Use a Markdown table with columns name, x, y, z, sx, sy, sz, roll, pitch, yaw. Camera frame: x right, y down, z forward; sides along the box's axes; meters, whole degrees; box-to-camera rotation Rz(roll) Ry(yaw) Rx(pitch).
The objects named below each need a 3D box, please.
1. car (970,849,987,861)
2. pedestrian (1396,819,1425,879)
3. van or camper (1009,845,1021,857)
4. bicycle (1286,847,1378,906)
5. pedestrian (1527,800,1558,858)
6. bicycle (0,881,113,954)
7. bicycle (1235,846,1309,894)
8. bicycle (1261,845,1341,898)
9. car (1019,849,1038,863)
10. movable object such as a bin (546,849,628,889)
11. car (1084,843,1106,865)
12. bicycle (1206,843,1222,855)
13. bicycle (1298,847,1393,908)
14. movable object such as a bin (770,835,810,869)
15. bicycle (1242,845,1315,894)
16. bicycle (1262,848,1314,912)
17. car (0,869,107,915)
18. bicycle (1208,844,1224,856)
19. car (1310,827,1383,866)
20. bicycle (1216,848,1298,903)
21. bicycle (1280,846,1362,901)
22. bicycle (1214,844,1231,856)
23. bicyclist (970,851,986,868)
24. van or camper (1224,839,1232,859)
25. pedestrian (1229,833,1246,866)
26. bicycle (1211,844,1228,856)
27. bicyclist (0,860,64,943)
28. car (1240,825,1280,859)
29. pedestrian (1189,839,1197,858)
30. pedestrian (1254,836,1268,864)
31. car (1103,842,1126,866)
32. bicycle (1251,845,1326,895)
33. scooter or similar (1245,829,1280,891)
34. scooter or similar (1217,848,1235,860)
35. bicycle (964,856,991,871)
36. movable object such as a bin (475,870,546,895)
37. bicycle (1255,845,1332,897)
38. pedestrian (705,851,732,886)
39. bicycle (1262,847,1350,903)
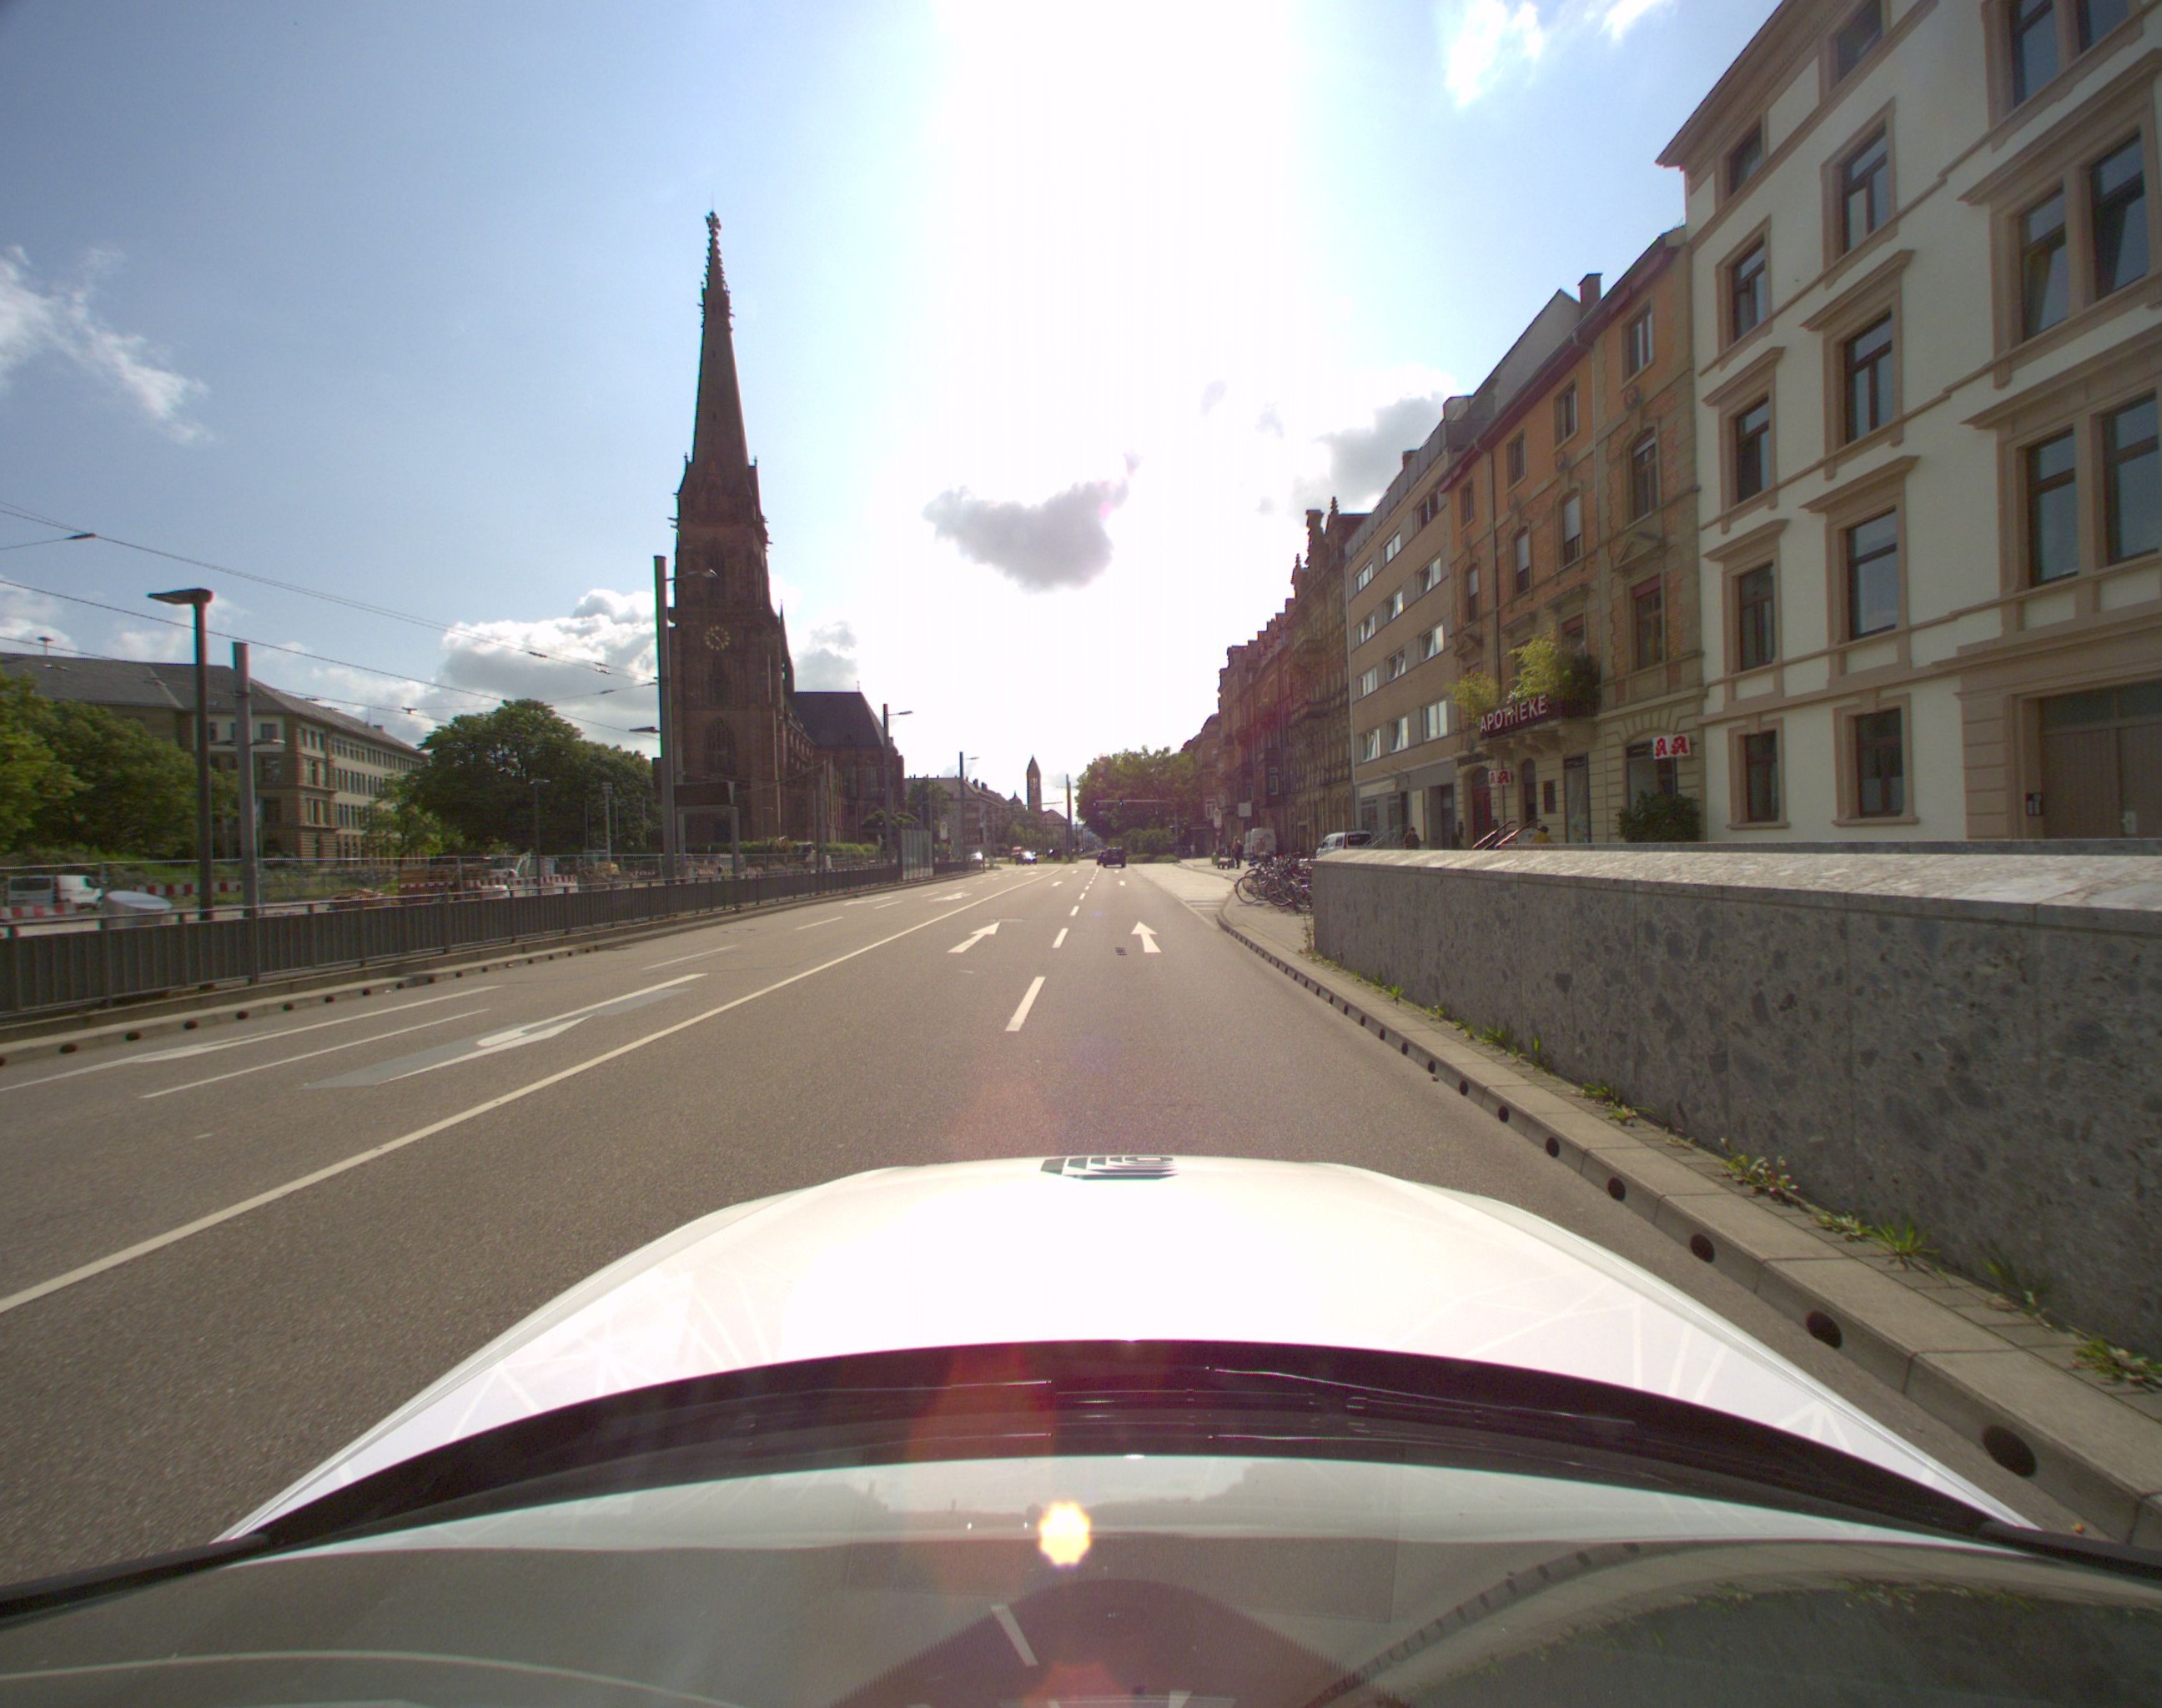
| name | x | y | z | sx | sy | sz | roll | pitch | yaw |
| --- | --- | --- | --- | --- | --- | --- | --- | --- | --- |
| car | -14.584 | 0.123 | 116.494 | 1.812 | 1.552 | 4.558 | -2 | 0 | -1 |
| pedestrian | 11.841 | -0.204 | 29.292 | 0.718 | 2.099 | 0.787 | -2 | 2 | 2 |
| van or camper | -15.425 | -0.634 | 190.225 | 2.249 | 2.737 | 6.199 | -2 | 0 | -2 |
| bicycle | 5.667 | 0.501 | 18.438 | 1.916 | 1.237 | 0.442 | -2 | 2 | 3 |
| pedestrian | 13.655 | -0.742 | 24.107 | 0.576 | 1.697 | 0.613 | -2 | 2 | 2 |
| bicycle | -22.728 | 1.353 | 16.736 | 1.189 | 1.427 | 3.693 | -2 | 0 | 0 |
| bicycle | 5.372 | 0.434 | 22.900 | 1.979 | 1.237 | 0.440 | -2 | 2 | -10 |
| bicycle | 5.613 | 0.426 | 20.770 | 1.923 | 1.237 | 0.440 | -2 | 2 | -9 |
| car | -5.977 | 0.215 | 93.428 | 1.910 | 1.417 | 3.739 | -2 | 0 | -2 |
| movable object such as a bin | -39.147 | 1.182 | 64.633 | 5.130 | 2.911 | 1.996 | -2 | 0 | -6 |
| car | 1.356 | 0.021 | 81.141 | 1.988 | 2.013 | 3.998 | -2 | 0 | -1 |
| bicycle | 15.160 | -0.553 | 92.976 | 1.761 | 1.267 | 0.467 | -2 | 2 | 5 |
| bicycle | 5.744 | 0.507 | 17.724 | 1.916 | 1.237 | 0.442 | -2 | 2 | 3 |
| movable object such as a bin | -28.147 | -0.262 | 78.955 | 1.983 | 3.105 | 4.008 | -2 | 2 | 6 |
| bicycle | 5.446 | 0.412 | 22.421 | 1.924 | 1.237 | 0.440 | -2 | 2 | -11 |
| bicycle | 4.489 | 0.531 | 17.789 | 0.439 | 1.237 | 1.927 | -2 | 2 | -6 |
| car | -54.520 | 1.950 | 43.298 | 1.947 | 2.137 | 4.601 | -2 | 2 | -30 |
| bicycle | 15.114 | -0.493 | 91.243 | 1.761 | 1.267 | 0.467 | -2 | 2 | 5 |
| car | 13.746 | -0.334 | 42.444 | 1.989 | 1.862 | 4.746 | -2 | 0 | -4 |
| bicycle | 4.323 | 0.510 | 20.030 | 1.925 | 1.237 | 0.439 | -2 | 2 | -12 |
| bicycle | 5.854 | 0.470 | 19.856 | 1.925 | 1.237 | 0.439 | -2 | 2 | -12 |
| bicycle | 15.320 | -0.421 | 88.402 | 1.761 | 1.267 | 0.467 | -2 | 2 | 5 |
| bicyclist | -8.804 | 0.472 | 69.735 | 1.082 | 1.436 | 0.827 | -2 | 0 | 12 |
| van or camper | 14.801 | -0.499 | 81.934 | 0.663 | 2.013 | 0.638 | -2 | 0 | 2 |
| pedestrian | 9.193 | -0.270 | 47.814 | 0.664 | 1.903 | 0.690 | -2 | 0 | -17 |
| bicycle | 15.107 | -0.432 | 89.026 | 1.737 | 1.267 | 0.467 | -2 | 2 | 5 |
| bicyclist | -22.736 | 1.002 | 16.852 | 1.174 | 1.684 | 1.684 | -2 | 0 | 0 |
| car | 14.146 | -0.937 | 64.799 | 1.986 | 2.525 | 5.891 | -2 | 0 | 2 |
| pedestrian | 12.157 | -0.598 | 88.330 | 0.765 | 2.013 | 0.716 | -2 | 0 | 2 |
| pedestrian | 12.208 | -0.292 | 55.152 | 0.661 | 1.836 | 0.693 | -2 | 0 | -5 |
| car | 2.742 | -0.026 | 67.272 | 1.683 | 1.711 | 3.609 | -2 | 2 | 0 |
| bicycle | 5.569 | 0.426 | 21.908 | 1.923 | 1.237 | 0.440 | -2 | 2 | -9 |
| scooter or similar | 5.451 | 0.169 | 24.513 | 0.397 | 1.786 | 1.532 | -2 | 0 | -11 |
| scooter or similar | 15.227 | 0.005 | 85.739 | 1.762 | 1.185 | 0.467 | -4 | -1 | 1 |
| bicycle | -8.857 | 0.815 | 69.700 | 2.005 | 1.126 | 0.934 | -2 | 0 | 12 |
| movable object such as a bin | -39.250 | 1.901 | 56.187 | 1.994 | 1.502 | 5.135 | -2 | 0 | -11 |
| bicycle | 5.563 | 0.434 | 21.326 | 1.923 | 1.237 | 0.440 | -2 | 2 | -9 |
| pedestrian | -22.016 | 0.872 | 49.488 | 1.060 | 2.013 | 1.052 | -2 | 0 | 5 |
| bicycle | 5.234 | 0.483 | 19.013 | 1.916 | 1.237 | 0.442 | -2 | 2 | 3 |
